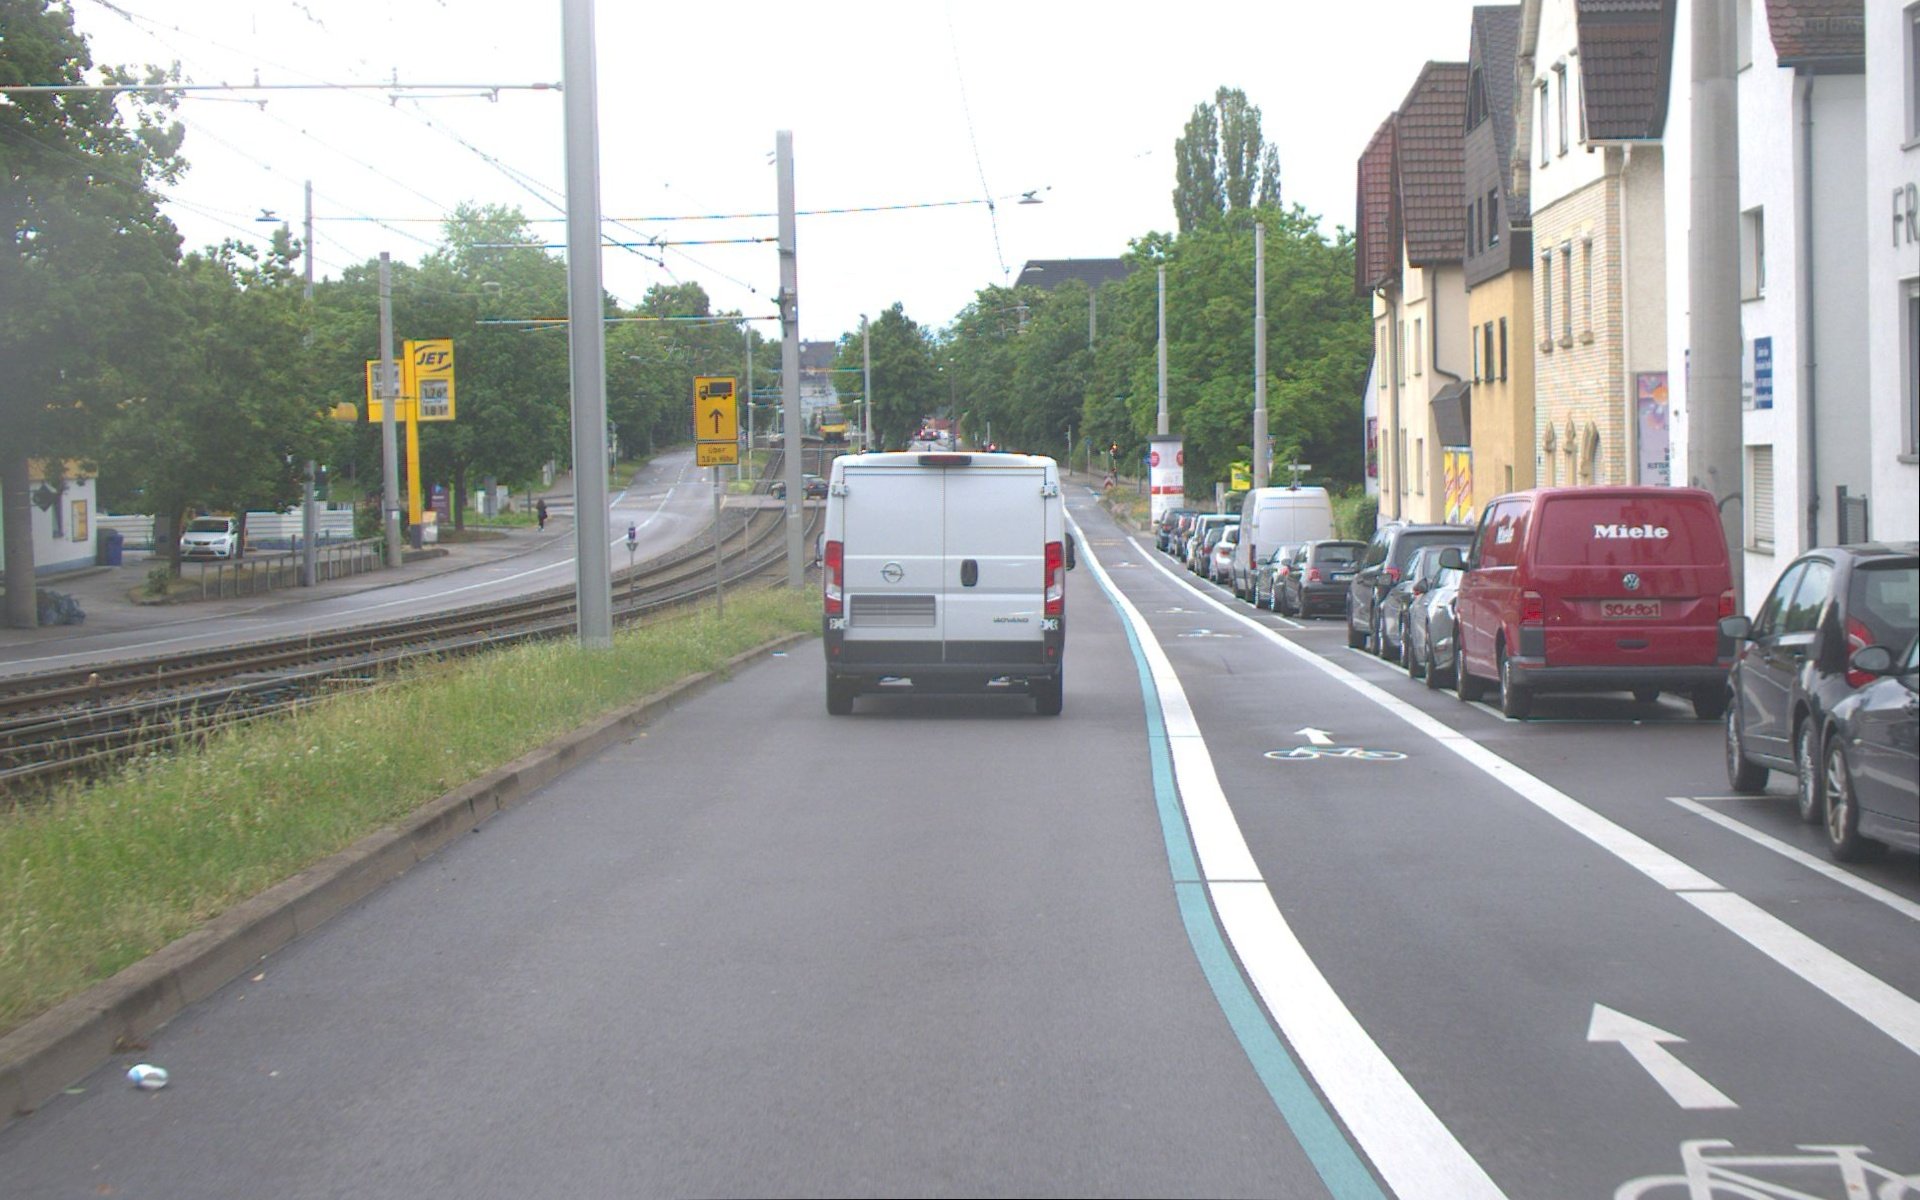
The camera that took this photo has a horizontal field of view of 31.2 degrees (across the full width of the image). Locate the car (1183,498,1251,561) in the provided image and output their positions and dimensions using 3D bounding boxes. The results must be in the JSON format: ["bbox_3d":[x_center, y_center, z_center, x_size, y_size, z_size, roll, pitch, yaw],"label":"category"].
[{"bbox_3d":[7.840,-2.181,105.225,1.747,1.801,3.955,0,3,0],"label":"car"}]

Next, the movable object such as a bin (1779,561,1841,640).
[{"bbox_3d":[9.707,0.005,39.285,0.586,0.876,0.448,-1,1,0],"label":"movable object such as a bin"}]

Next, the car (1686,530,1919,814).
[{"bbox_3d":[5.207,0.348,19.442,1.578,1.446,3.719,-1,0,3],"label":"car"}]

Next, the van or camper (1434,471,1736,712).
[{"bbox_3d":[5.412,-0.125,30.375,1.851,1.913,4.995,-1,1,2],"label":"van or camper"}]

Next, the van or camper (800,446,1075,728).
[{"bbox_3d":[-0.285,-0.153,30.164,2.198,2.245,4.685,1,1,-3],"label":"van or camper"}]

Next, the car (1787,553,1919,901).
[{"bbox_3d":[4.822,0.521,14.580,1.712,1.407,4.565,0,1,3],"label":"car"}]

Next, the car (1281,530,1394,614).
[{"bbox_3d":[7.141,-0.555,65.272,1.565,1.493,3.513,1,1,-3],"label":"car"}]

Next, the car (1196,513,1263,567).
[{"bbox_3d":[7.797,-1.756,99.620,1.646,1.441,3.955,1,2,1],"label":"car"}]

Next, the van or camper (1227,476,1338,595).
[{"bbox_3d":[7.301,-1.521,78.371,1.993,2.554,6.043,1,2,1],"label":"van or camper"}]

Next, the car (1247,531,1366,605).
[{"bbox_3d":[7.152,-0.688,71.333,1.788,1.401,4.554,1,2,-3],"label":"car"}]

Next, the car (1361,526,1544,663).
[{"bbox_3d":[5.906,-0.109,41.625,1.634,1.533,4.135,1,1,1],"label":"car"}]

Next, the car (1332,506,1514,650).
[{"bbox_3d":[6.178,-0.337,46.372,1.839,1.794,4.687,1,1,1],"label":"car"}]

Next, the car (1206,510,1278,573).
[{"bbox_3d":[7.694,-1.609,94.060,1.646,1.609,4.105,1,2,1],"label":"car"}]

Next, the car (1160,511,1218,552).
[{"bbox_3d":[8.548,-2.588,128.717,1.847,1.494,3.955,0,2,0],"label":"car"}]

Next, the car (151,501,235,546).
[{"bbox_3d":[-25.695,-2.573,115.214,1.993,1.437,4.000,1,1,-1],"label":"car"}]

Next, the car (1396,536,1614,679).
[{"bbox_3d":[5.616,0.028,35.898,1.796,1.371,4.670,0,1,3],"label":"car"}]
